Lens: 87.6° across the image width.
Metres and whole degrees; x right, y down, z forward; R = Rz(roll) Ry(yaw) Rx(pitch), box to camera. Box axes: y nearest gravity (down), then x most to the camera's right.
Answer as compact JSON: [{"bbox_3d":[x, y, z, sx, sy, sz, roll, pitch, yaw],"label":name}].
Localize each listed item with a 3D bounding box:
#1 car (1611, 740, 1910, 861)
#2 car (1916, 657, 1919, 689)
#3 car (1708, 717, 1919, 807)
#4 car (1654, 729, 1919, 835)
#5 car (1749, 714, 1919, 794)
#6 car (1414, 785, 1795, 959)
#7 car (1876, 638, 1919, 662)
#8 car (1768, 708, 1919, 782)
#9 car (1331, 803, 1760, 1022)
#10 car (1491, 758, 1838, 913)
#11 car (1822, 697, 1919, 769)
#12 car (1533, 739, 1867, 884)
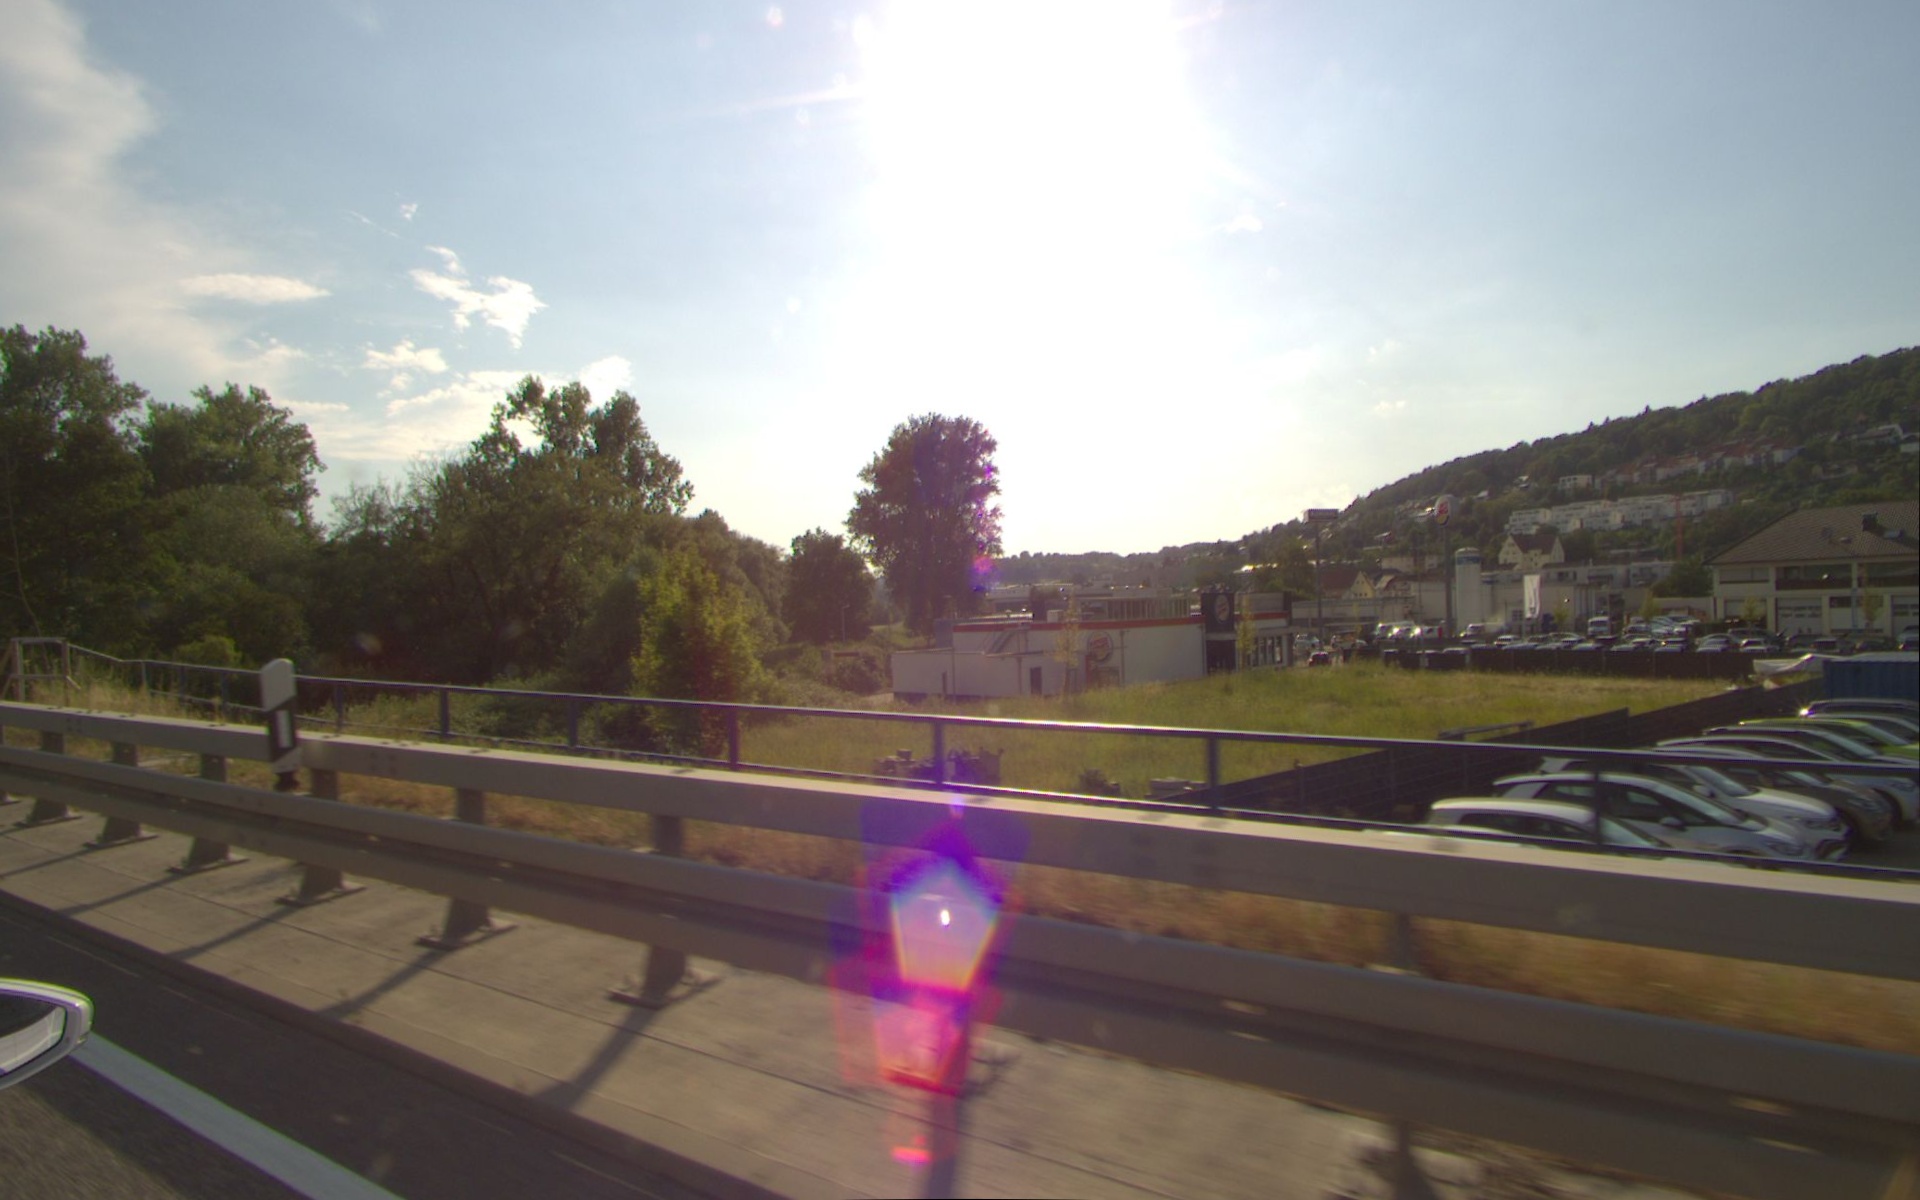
[{"bbox_3d":[14.075,3.428,17.737,3.960,1.482,1.942,-3,-3,44],"label":"car"},{"bbox_3d":[50.676,3.655,50.178,1.732,1.597,3.752,1,-3,-38],"label":"car"},{"bbox_3d":[18.542,3.389,21.340,3.959,1.521,1.796,-3,-3,44],"label":"car"},{"bbox_3d":[15.931,3.408,19.289,3.960,1.482,1.942,-3,-3,44],"label":"car"},{"bbox_3d":[20.556,3.463,22.707,1.694,1.482,3.964,1,-3,-42],"label":"car"},{"bbox_3d":[8.391,3.423,13.268,1.807,1.371,3.961,1,-3,-45],"label":"car"},{"bbox_3d":[65.743,3.423,68.891,1.732,1.597,3.752,1,-3,-38],"label":"car"},{"bbox_3d":[22.290,3.504,24.288,1.694,1.482,3.964,1,-3,-42],"label":"car"},{"bbox_3d":[6.488,3.342,11.366,3.949,1.482,1.700,-2,-3,37],"label":"car"},{"bbox_3d":[10.354,3.352,14.908,1.807,1.518,3.961,1,-3,-45],"label":"car"},{"bbox_3d":[24.397,3.357,25.201,3.960,1.614,1.942,-3,-3,44],"label":"car"},{"bbox_3d":[12.057,3.319,16.496,4.201,1.662,1.942,-3,-3,44],"label":"car"}]
